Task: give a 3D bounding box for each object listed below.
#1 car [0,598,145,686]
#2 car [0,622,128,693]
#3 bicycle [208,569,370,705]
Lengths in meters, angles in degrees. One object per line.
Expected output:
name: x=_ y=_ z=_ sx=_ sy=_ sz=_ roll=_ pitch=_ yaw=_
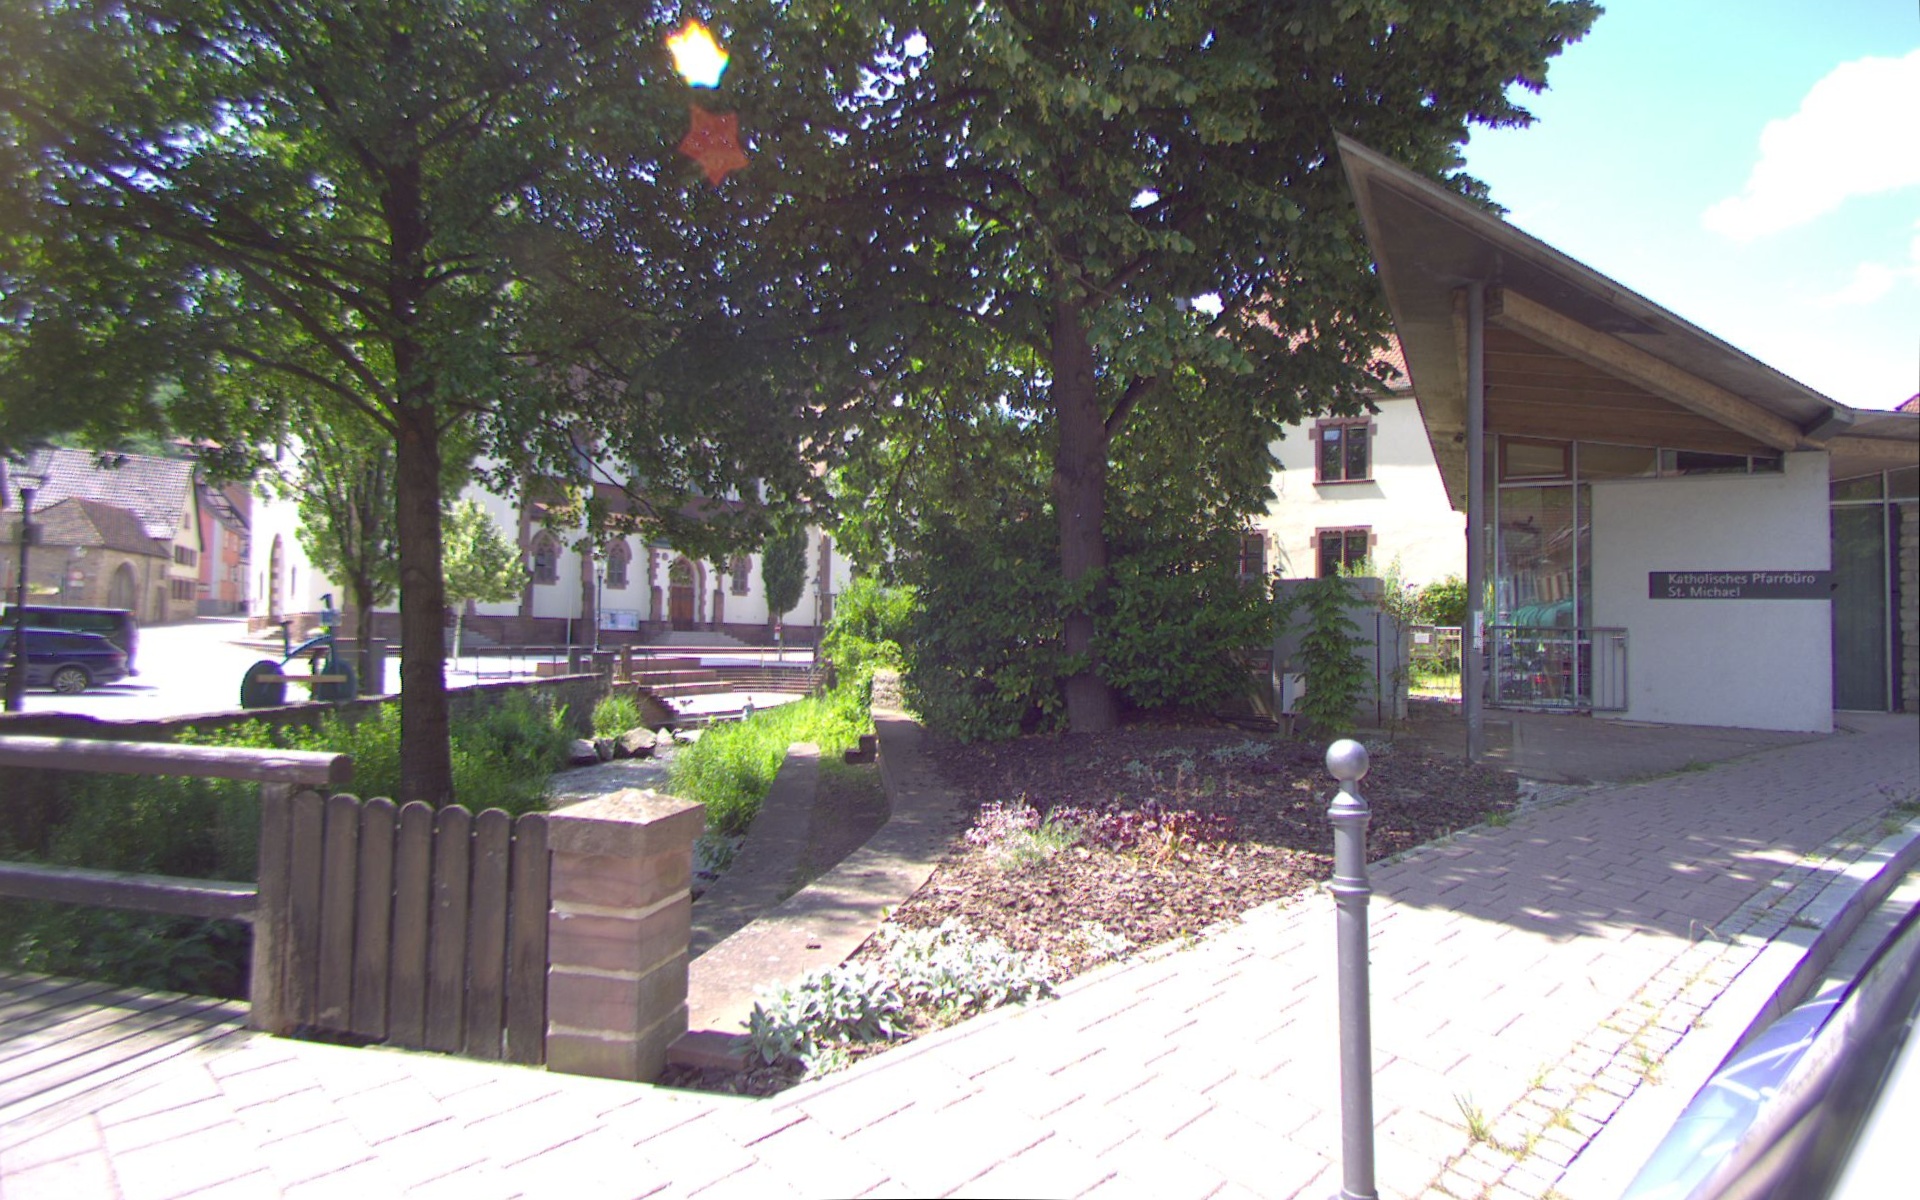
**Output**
car: x=-23.350 y=0.986 z=24.734 sx=1.953 sy=2.053 sz=5.040 roll=1 pitch=-3 yaw=44
car: x=-21.571 y=1.259 z=22.554 sx=1.584 sy=1.501 sz=4.467 roll=1 pitch=-3 yaw=44
bicycle: x=-11.070 y=0.609 z=16.836 sx=0.769 sy=2.040 sz=2.662 roll=-3 pitch=-2 yaw=4
